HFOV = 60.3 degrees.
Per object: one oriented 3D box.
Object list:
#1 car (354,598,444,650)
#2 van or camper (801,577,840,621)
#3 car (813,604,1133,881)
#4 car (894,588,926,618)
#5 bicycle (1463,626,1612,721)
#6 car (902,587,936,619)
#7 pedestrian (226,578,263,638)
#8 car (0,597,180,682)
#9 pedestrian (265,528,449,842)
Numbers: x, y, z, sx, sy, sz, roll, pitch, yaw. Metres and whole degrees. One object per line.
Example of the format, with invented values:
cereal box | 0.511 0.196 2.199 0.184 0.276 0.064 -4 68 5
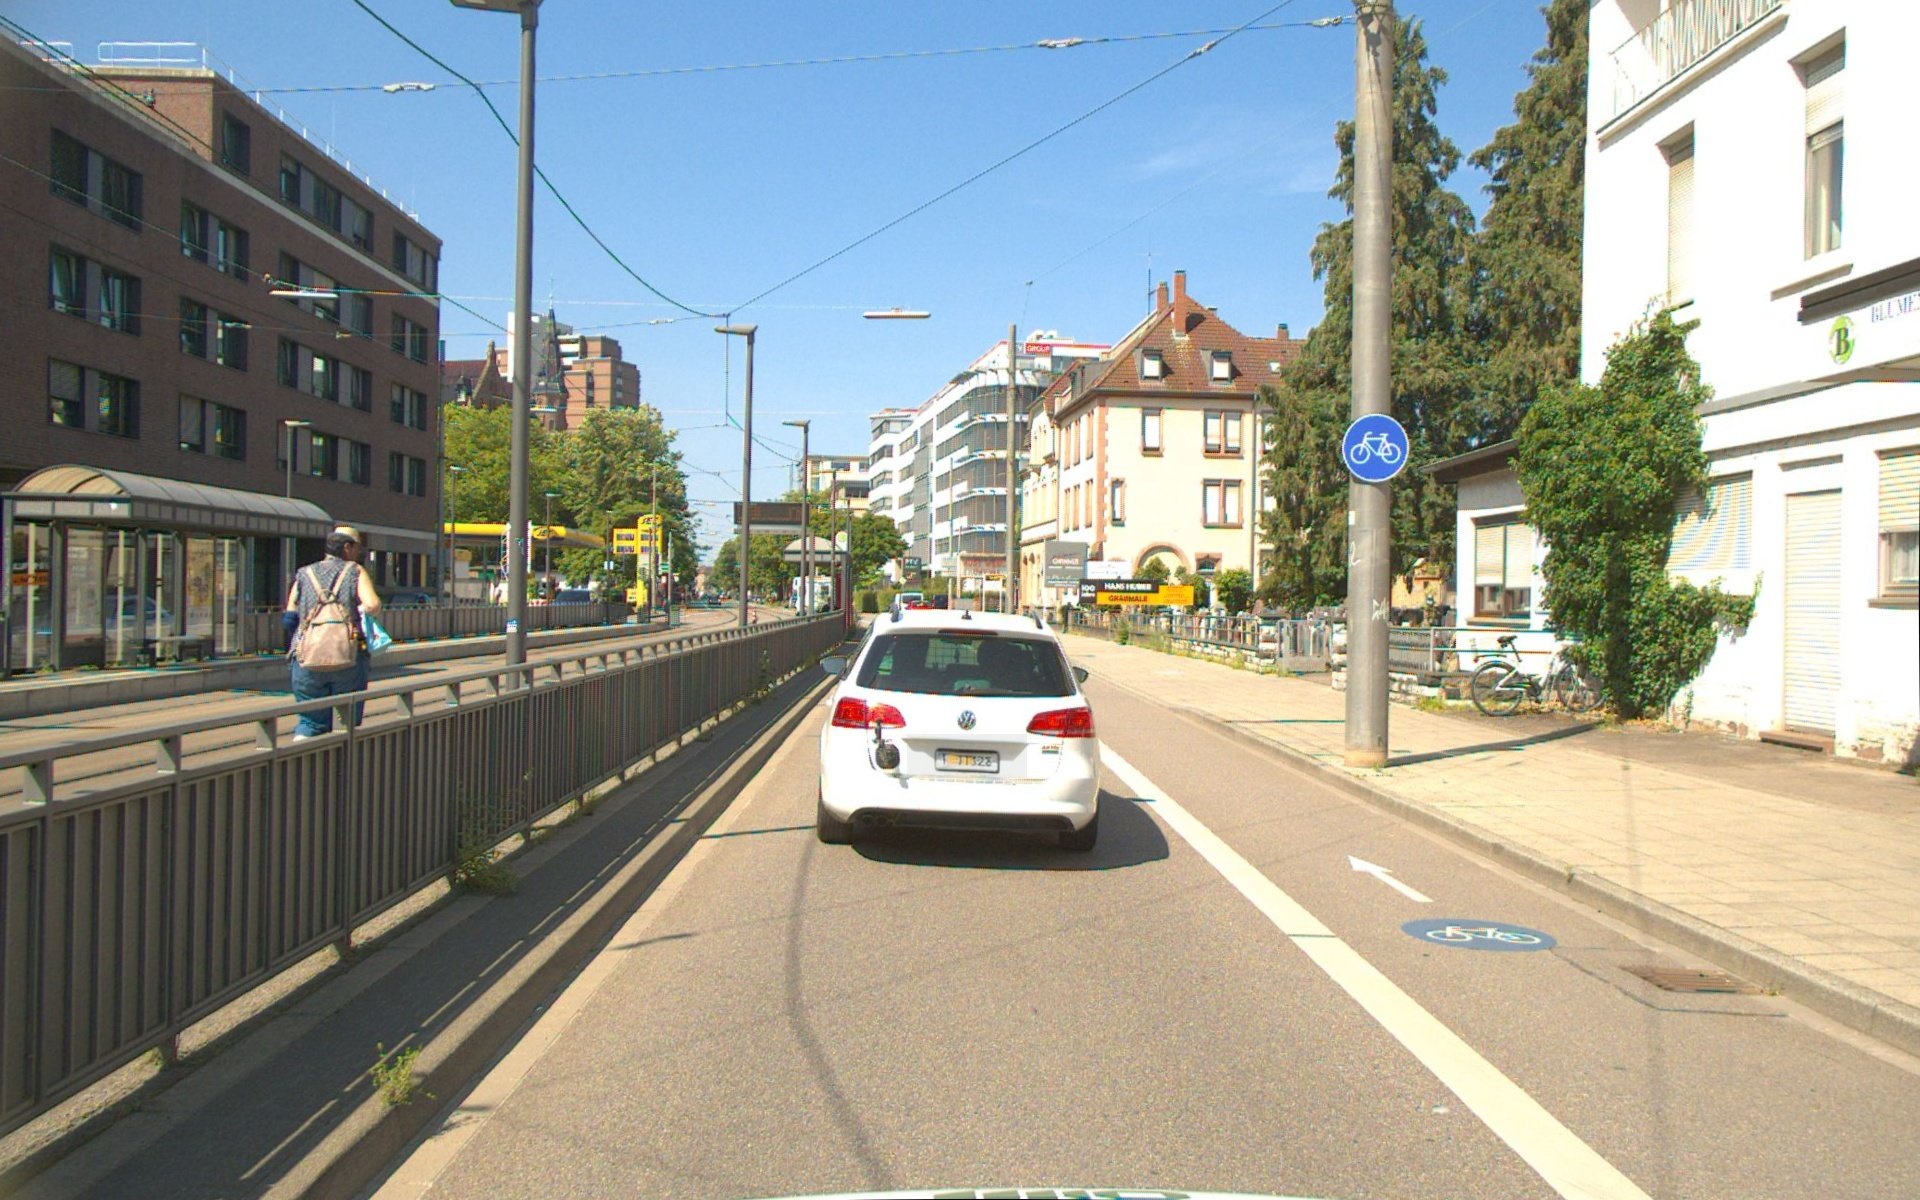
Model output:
car | -16.710 0.694 49.391 1.541 1.484 3.736 1 0 -3
van or camper | -10.661 -0.067 126.723 2.886 3.235 6.607 1 0 -4
car | 0.041 0.800 11.152 1.717 1.442 3.852 3 0 -1
car | -3.533 0.184 116.421 1.955 2.049 3.995 1 0 -6
bicycle | 7.183 0.908 20.598 1.677 1.150 0.525 1 0 0
car | -2.755 0.197 111.020 1.955 2.049 3.995 1 0 -6
pedestrian | -21.707 0.241 50.202 0.710 1.822 0.964 0 0 -2
car | -16.441 0.698 31.392 1.541 1.484 3.933 1 0 -3
pedestrian | -3.684 0.502 10.166 0.810 1.841 0.833 1 0 -1
